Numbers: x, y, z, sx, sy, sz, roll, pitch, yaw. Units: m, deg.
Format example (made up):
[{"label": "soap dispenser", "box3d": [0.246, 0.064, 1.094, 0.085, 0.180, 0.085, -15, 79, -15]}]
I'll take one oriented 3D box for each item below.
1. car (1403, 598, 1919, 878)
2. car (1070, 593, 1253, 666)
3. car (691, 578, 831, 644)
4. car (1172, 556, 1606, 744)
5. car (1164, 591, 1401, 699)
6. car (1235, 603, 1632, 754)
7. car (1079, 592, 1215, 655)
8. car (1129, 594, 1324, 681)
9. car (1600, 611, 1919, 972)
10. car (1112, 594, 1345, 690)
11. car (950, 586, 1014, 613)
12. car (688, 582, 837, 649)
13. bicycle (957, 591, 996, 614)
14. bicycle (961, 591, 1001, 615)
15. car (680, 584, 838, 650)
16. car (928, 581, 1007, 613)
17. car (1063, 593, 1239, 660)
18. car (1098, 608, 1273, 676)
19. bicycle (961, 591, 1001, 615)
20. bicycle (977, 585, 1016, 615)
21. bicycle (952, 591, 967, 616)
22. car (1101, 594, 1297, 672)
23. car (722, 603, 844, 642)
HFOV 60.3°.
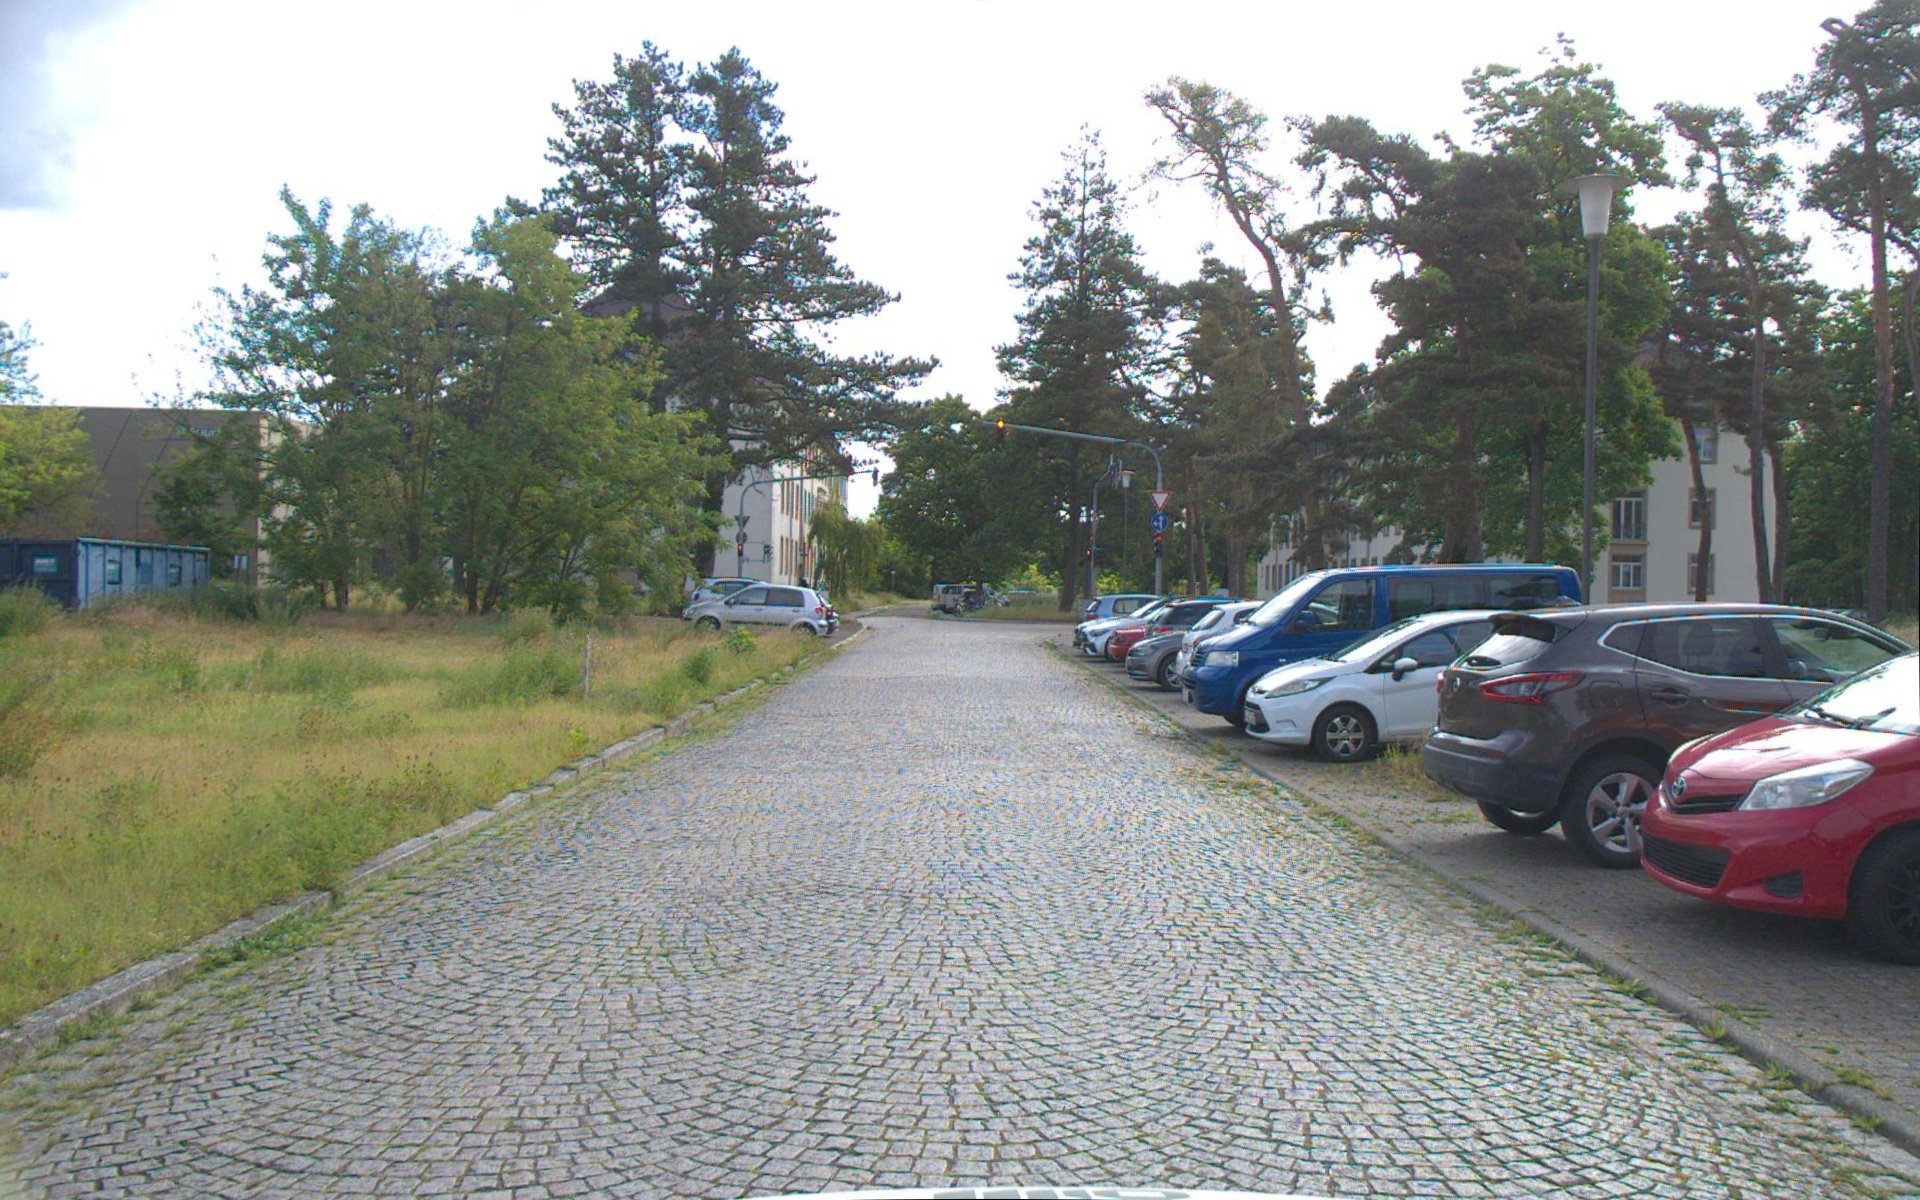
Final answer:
[{"label": "car", "box3d": [5.079, 0.844, 10.787, 3.871, 1.608, 1.761, 1, 0, -2]}, {"label": "car", "box3d": [4.621, 0.673, 38.178, 3.910, 1.570, 1.662, 1, 1, -7]}, {"label": "car", "box3d": [-5.765, 0.301, 47.999, 3.912, 1.780, 1.924, 1, 0, -8]}, {"label": "car", "box3d": [5.006, 0.567, 19.684, 4.686, 2.075, 1.737, 1, 0, -3]}, {"label": "car", "box3d": [4.864, 0.661, 25.228, 3.226, 1.531, 1.663, 1, 1, -3]}, {"label": "car", "box3d": [4.840, 0.776, 17.213, 3.648, 1.449, 1.653, 0, 0, -3]}, {"label": "car", "box3d": [4.896, 0.602, 43.511, 3.324, 1.570, 1.389, 1, 0, -7]}, {"label": "car", "box3d": [4.956, 0.691, 30.931, 3.233, 1.530, 1.660, 1, 1, -11]}, {"label": "car", "box3d": [5.454, 0.876, 8.165, 3.906, 1.545, 1.738, 1, 0, -1]}, {"label": "car", "box3d": [4.520, 0.703, 28.047, 3.534, 1.533, 1.660, 1, 1, -12]}, {"label": "car", "box3d": [1.434, -0.047, 106.986, 3.911, 1.673, 1.997, 1, 0, -7]}, {"label": "car", "box3d": [-5.348, 0.411, 45.045, 3.911, 1.735, 1.997, 1, 1, -7]}, {"label": "bicycle", "box3d": [0.926, 0.141, 94.233, 2.119, 1.290, 0.811, 1, 0, -7]}, {"label": "bicycle", "box3d": [1.179, 0.142, 92.436, 2.119, 1.290, 0.811, 1, 0, -7]}, {"label": "car", "box3d": [-5.157, 0.420, 42.559, 3.911, 1.579, 1.997, 1, 1, -7]}, {"label": "car", "box3d": [0.460, -0.206, 110.249, 4.960, 2.049, 1.995, 1, 0, -11]}, {"label": "car", "box3d": [4.696, 0.646, 40.938, 4.043, 1.570, 1.662, 1, 1, -7]}, {"label": "car", "box3d": [4.555, 0.839, 33.641, 3.229, 1.289, 1.662, 1, 1, -6]}, {"label": "bicycle", "box3d": [1.169, 0.145, 93.023, 2.119, 1.290, 0.811, 1, 0, -7]}, {"label": "bicycle", "box3d": [2.078, 0.007, 93.746, 2.119, 1.644, 0.811, 1, 0, -7]}, {"label": "bicycle", "box3d": [-0.017, 0.177, 88.660, 0.793, 1.290, 1.973, 1, 0, 0]}, {"label": "car", "box3d": [5.146, 0.708, 35.896, 3.910, 1.570, 1.662, 1, 0, -7]}, {"label": "car", "box3d": [-5.385, 0.680, 50.343, 3.601, 1.113, 1.644, 1, 1, -7]}]
